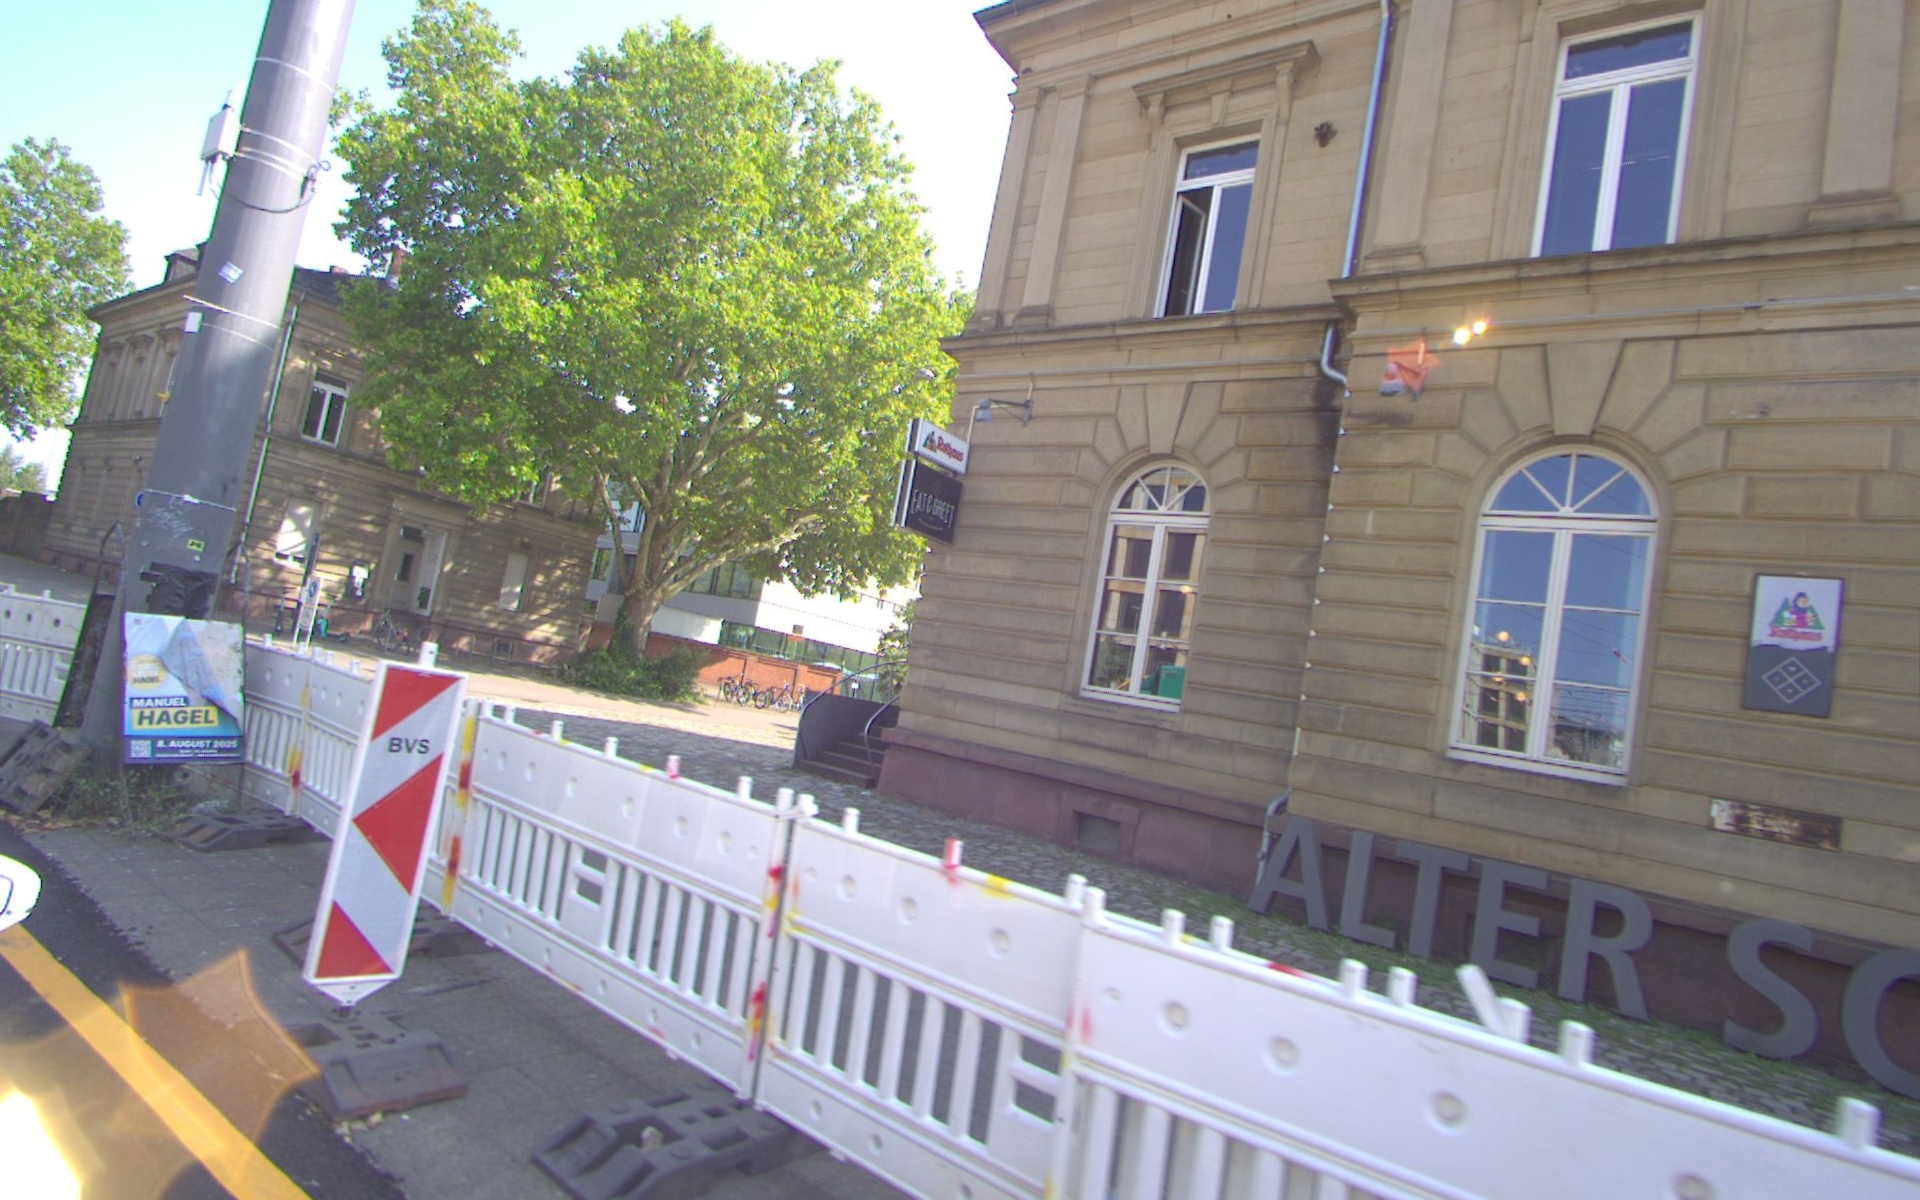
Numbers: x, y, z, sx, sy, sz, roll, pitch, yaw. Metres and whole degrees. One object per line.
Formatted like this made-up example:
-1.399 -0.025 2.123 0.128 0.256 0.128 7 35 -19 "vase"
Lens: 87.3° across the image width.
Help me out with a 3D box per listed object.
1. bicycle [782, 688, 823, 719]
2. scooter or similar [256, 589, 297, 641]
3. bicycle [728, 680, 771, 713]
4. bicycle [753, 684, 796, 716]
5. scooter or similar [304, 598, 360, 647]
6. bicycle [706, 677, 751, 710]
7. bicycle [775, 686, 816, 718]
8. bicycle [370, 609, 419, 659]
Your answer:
-6.454 4.203 41.082 1.771 0.908 0.567 8 -4 45 "bicycle"
-17.602 0.378 25.894 1.209 1.177 0.409 6 -5 41 "scooter or similar"
-7.927 3.619 37.813 1.771 0.868 0.567 8 -4 45 "bicycle"
-7.128 3.836 38.541 1.771 0.868 0.567 8 -4 45 "bicycle"
-17.012 0.627 27.272 0.307 1.143 1.095 7 -5 33 "scooter or similar"
-8.548 3.439 37.128 1.771 0.868 0.646 8 -4 45 "bicycle"
-6.609 4.092 40.370 1.771 0.908 0.567 8 -4 45 "bicycle"
-15.821 0.936 28.125 1.606 1.177 0.498 6 -5 41 "bicycle"
